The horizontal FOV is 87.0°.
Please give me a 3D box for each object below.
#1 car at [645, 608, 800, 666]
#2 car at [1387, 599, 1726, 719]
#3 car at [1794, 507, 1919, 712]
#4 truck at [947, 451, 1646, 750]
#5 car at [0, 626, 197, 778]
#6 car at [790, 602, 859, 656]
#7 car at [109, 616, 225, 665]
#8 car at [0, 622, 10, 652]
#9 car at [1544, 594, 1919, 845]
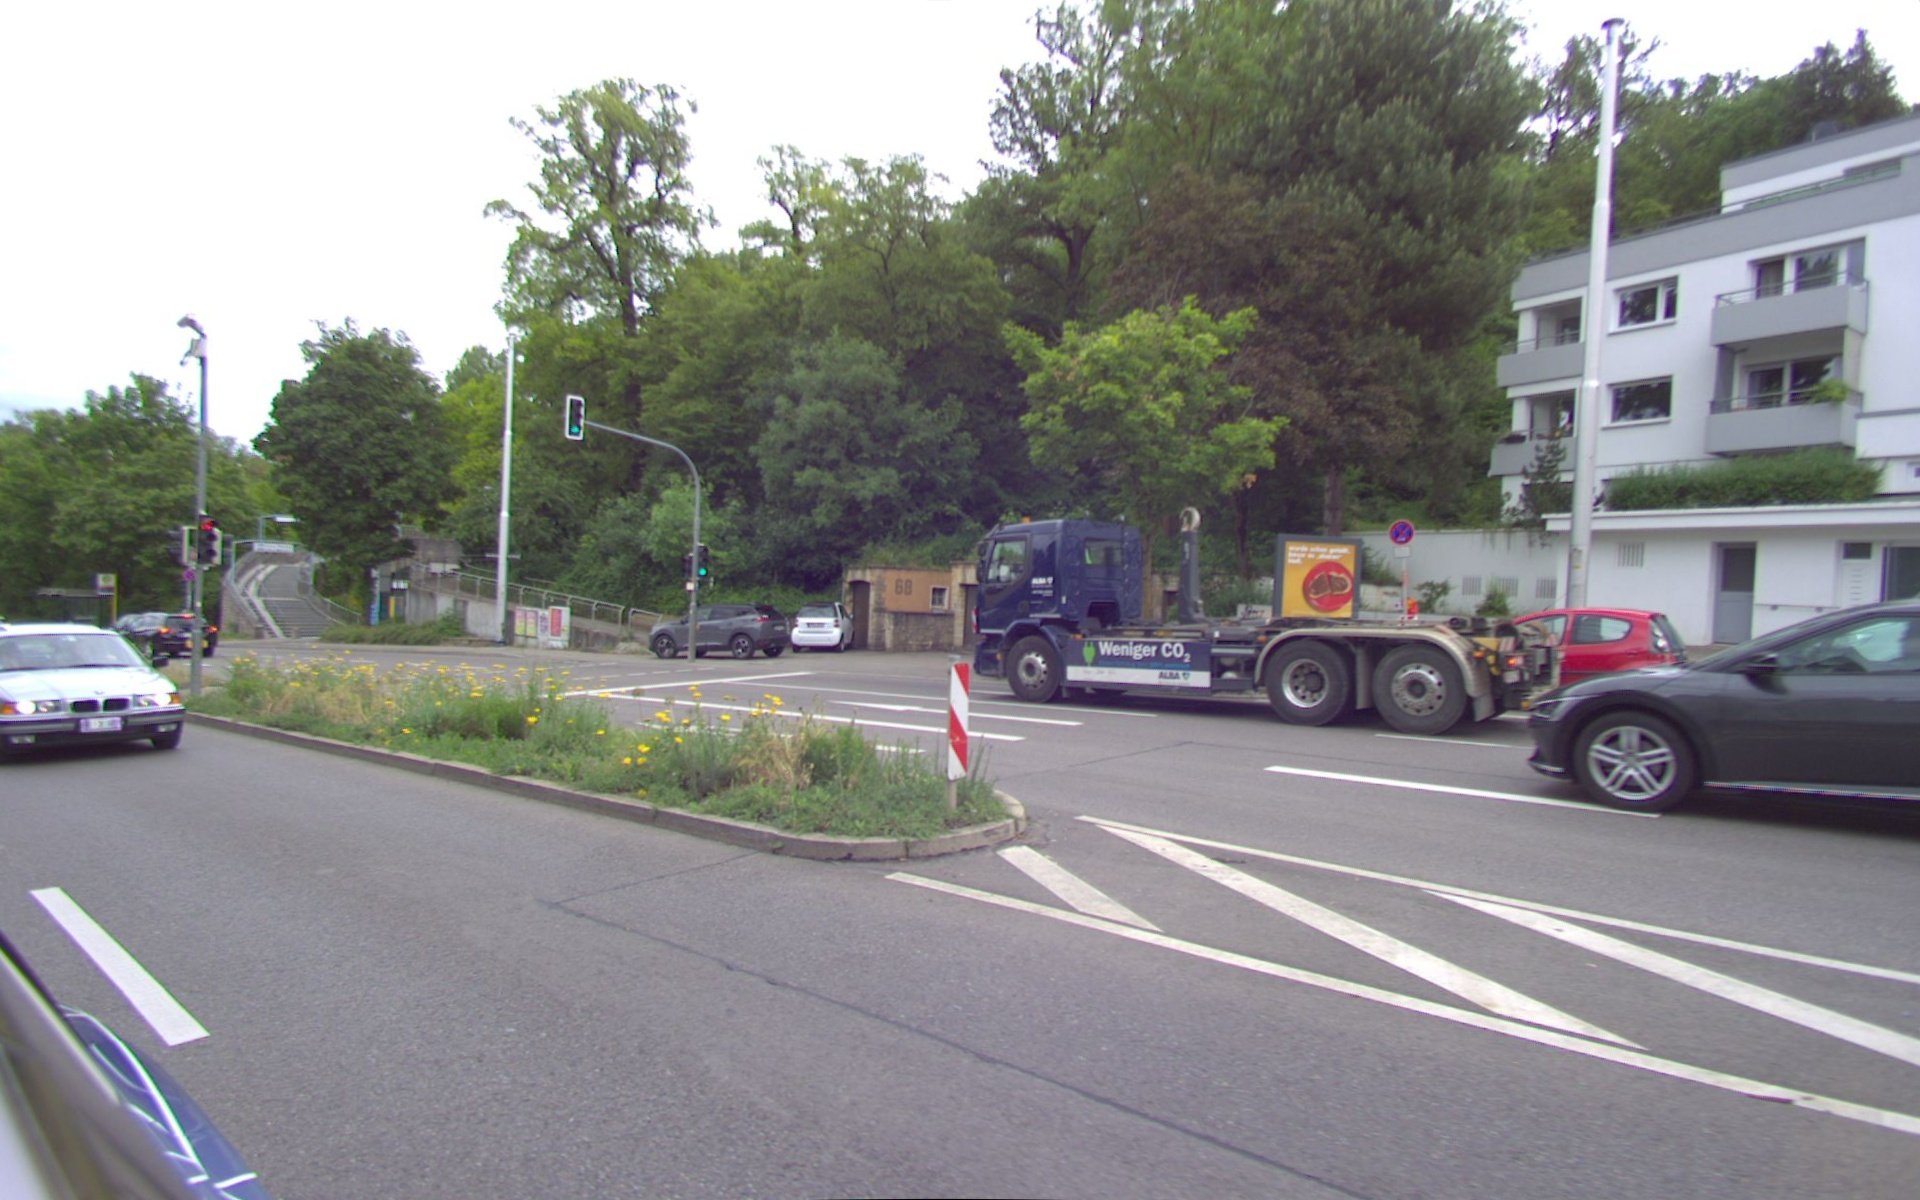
[{"bbox_3d":[-6.693,1.008,28.572,4.103,1.551,1.587,0,-1,21],"label":"car"},{"bbox_3d":[8.370,0.767,14.415,3.926,1.476,1.604,-1,-2,42],"label":"car"},{"bbox_3d":[14.634,0.101,11.742,2.205,2.587,7.428,1,-2,-44],"label":"car"},{"bbox_3d":[4.043,0.063,14.292,8.980,2.993,2.928,-1,-1,44],"label":"truck"},{"bbox_3d":[-10.562,1.029,11.734,4.611,1.404,1.735,-1,-1,40],"label":"car"},{"bbox_3d":[-4.233,0.864,31.859,1.545,1.531,2.706,0,2,7],"label":"car"},{"bbox_3d":[-26.562,1.309,33.864,4.540,1.512,1.679,0,0,33],"label":"car"},{"bbox_3d":[-48.358,1.828,49.479,4.127,1.404,1.640,-1,1,30],"label":"car"},{"bbox_3d":[6.530,0.716,6.532,1.676,1.508,4.490,0,-1,-44],"label":"car"}]
